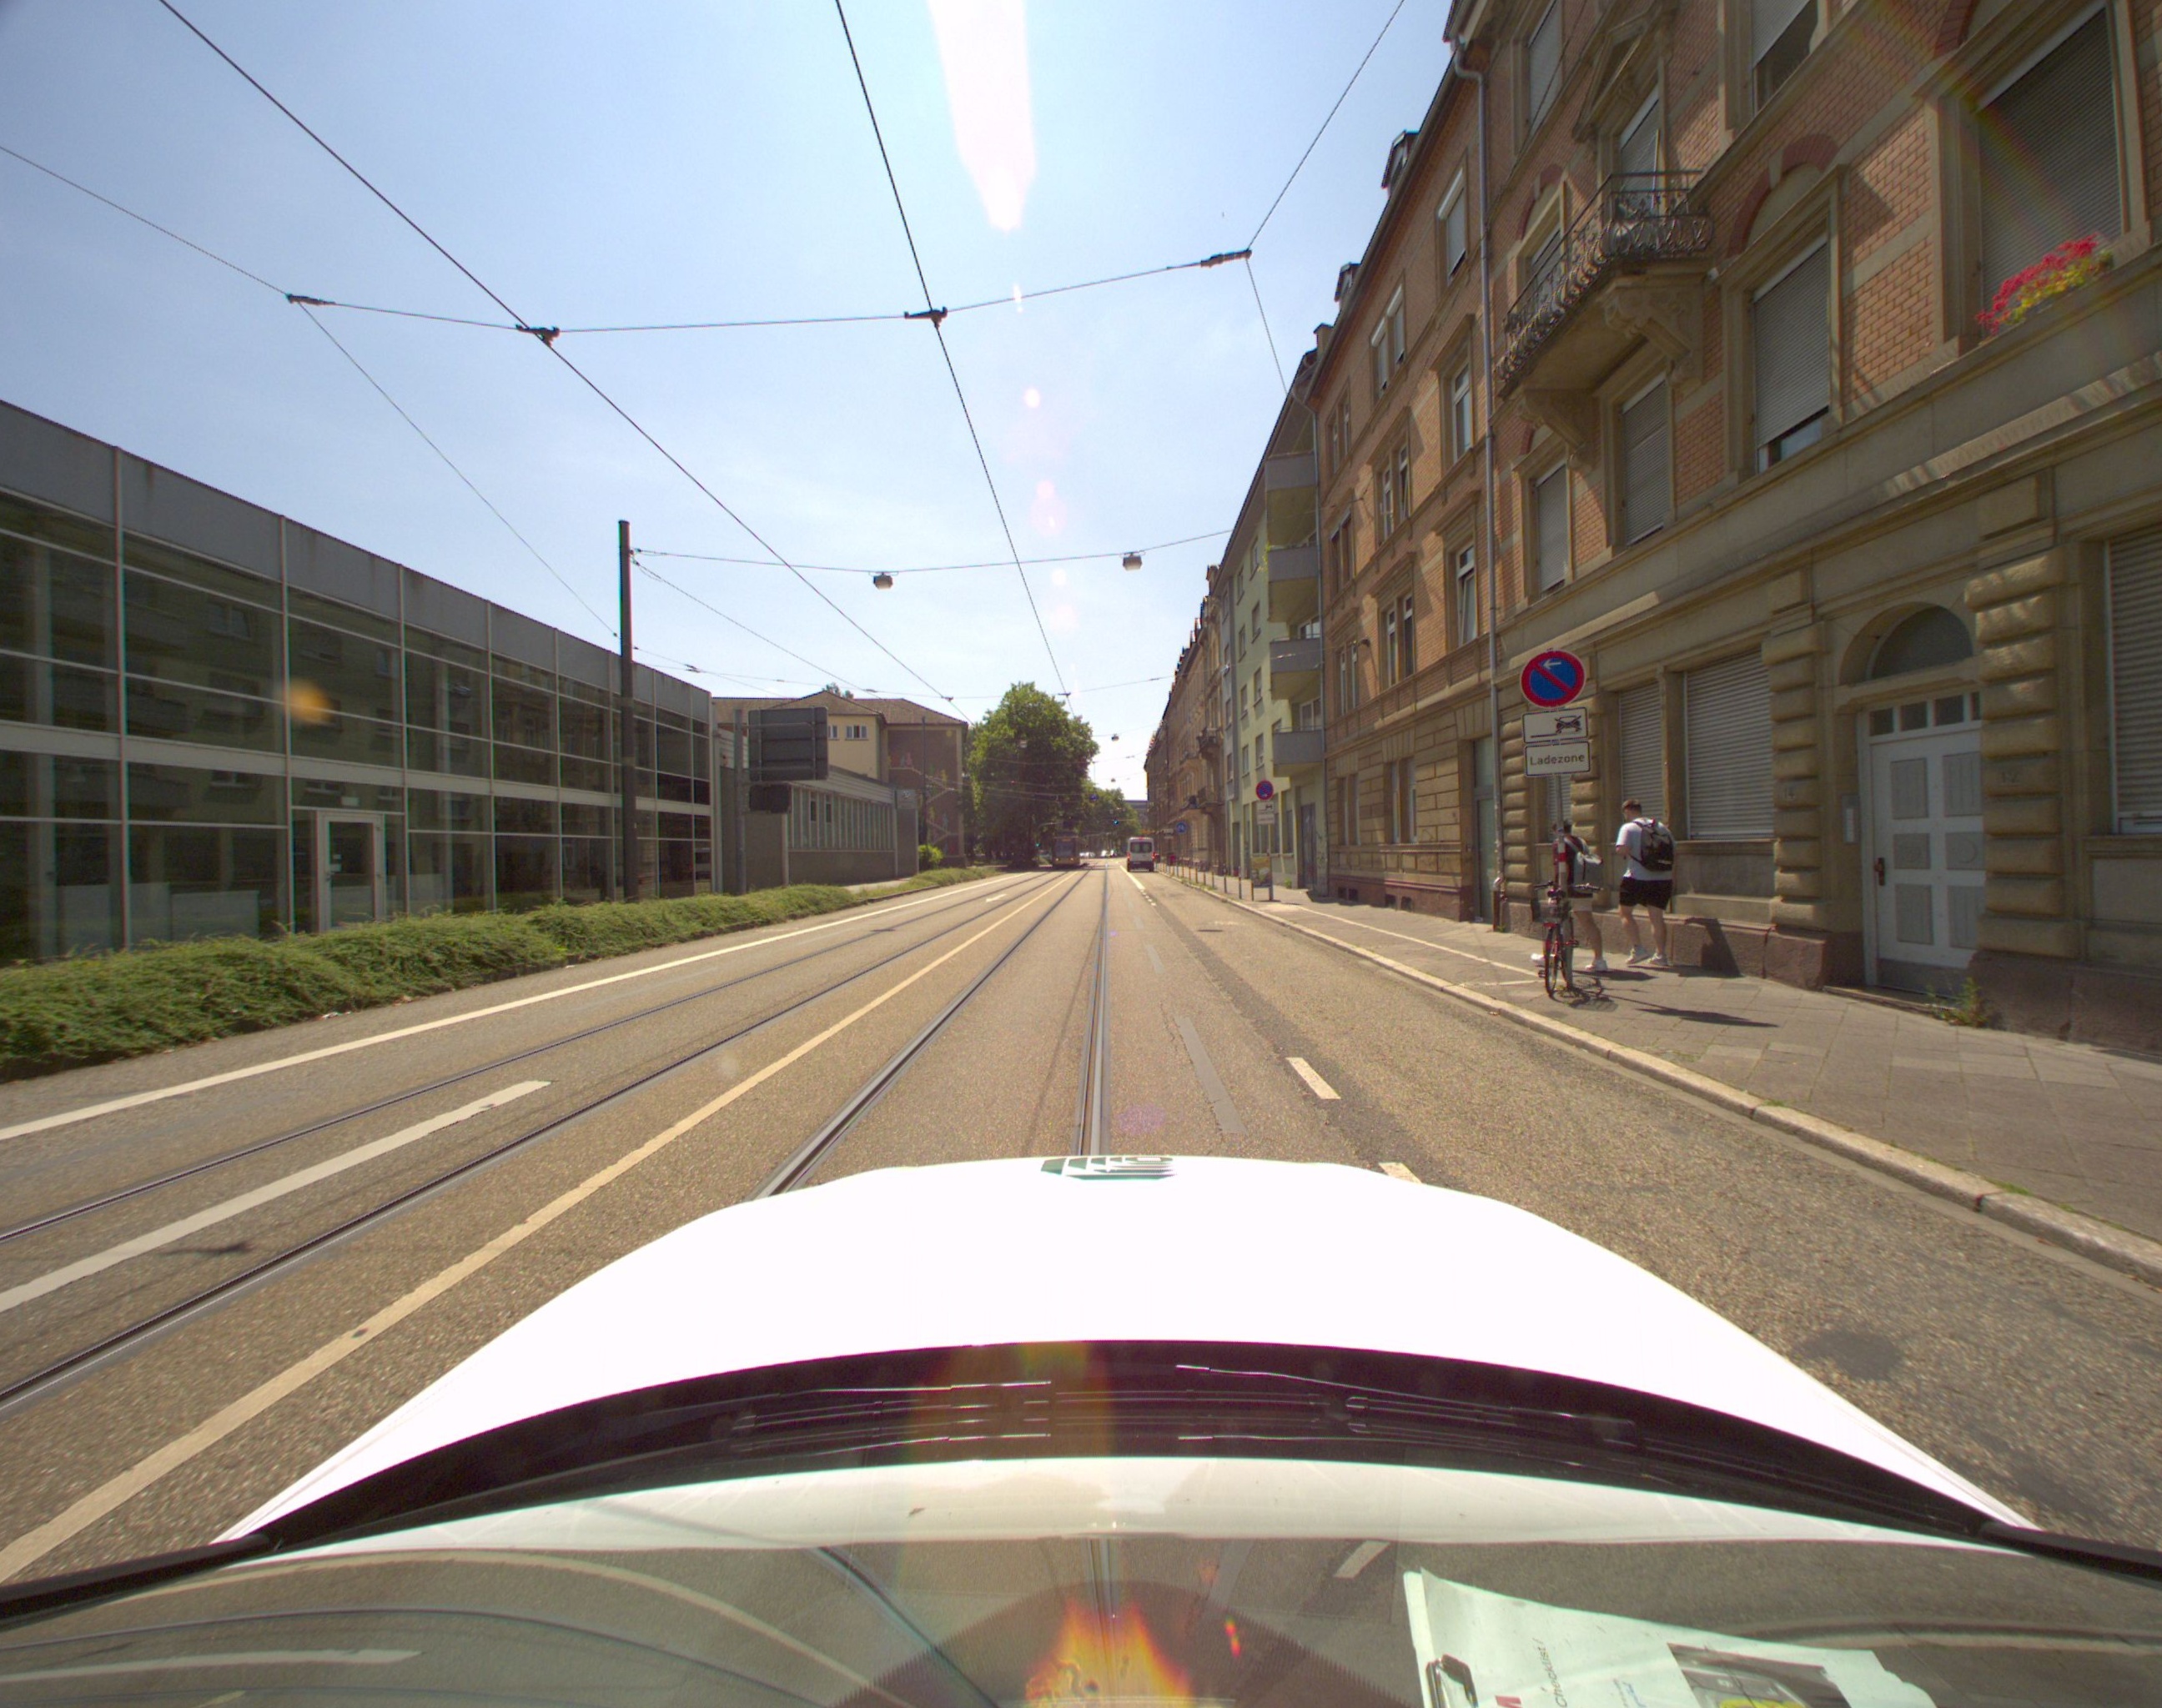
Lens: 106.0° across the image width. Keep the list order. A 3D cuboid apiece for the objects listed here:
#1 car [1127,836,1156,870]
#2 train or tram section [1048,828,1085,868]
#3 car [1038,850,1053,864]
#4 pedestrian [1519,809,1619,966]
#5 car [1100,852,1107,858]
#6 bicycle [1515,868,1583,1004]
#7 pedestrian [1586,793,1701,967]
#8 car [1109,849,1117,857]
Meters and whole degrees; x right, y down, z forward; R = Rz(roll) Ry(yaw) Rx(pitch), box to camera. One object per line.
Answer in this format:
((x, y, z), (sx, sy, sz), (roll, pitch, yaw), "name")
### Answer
((4.562, -0.077, 61.973), (2.059, 2.501, 5.458), (-1, 0, 3), "car")
((-1.296, -0.540, 80.489), (2.950, 3.580, 13.427), (-2, 0, 2), "train or tram section")
((-4.897, 0.442, 112.311), (1.795, 1.923, 3.999), (-1, 0, 0), "car")
((5.600, 0.373, 9.382), (0.717, 1.720, 0.644), (-2, 0, 3), "pedestrian")
((5.259, 0.244, 190.761), (1.523, 1.408, 3.489), (-1, 0, 0), "car")
((4.805, 0.757, 8.362), (0.494, 1.130, 2.257), (-2, 0, 30), "bicycle")
((6.345, 0.287, 9.224), (0.699, 1.848, 0.644), (-5, 0, 3), "pedestrian")
((7.743, -0.242, 197.890), (1.669, 1.860, 3.998), (-1, 0, -1), "car")
